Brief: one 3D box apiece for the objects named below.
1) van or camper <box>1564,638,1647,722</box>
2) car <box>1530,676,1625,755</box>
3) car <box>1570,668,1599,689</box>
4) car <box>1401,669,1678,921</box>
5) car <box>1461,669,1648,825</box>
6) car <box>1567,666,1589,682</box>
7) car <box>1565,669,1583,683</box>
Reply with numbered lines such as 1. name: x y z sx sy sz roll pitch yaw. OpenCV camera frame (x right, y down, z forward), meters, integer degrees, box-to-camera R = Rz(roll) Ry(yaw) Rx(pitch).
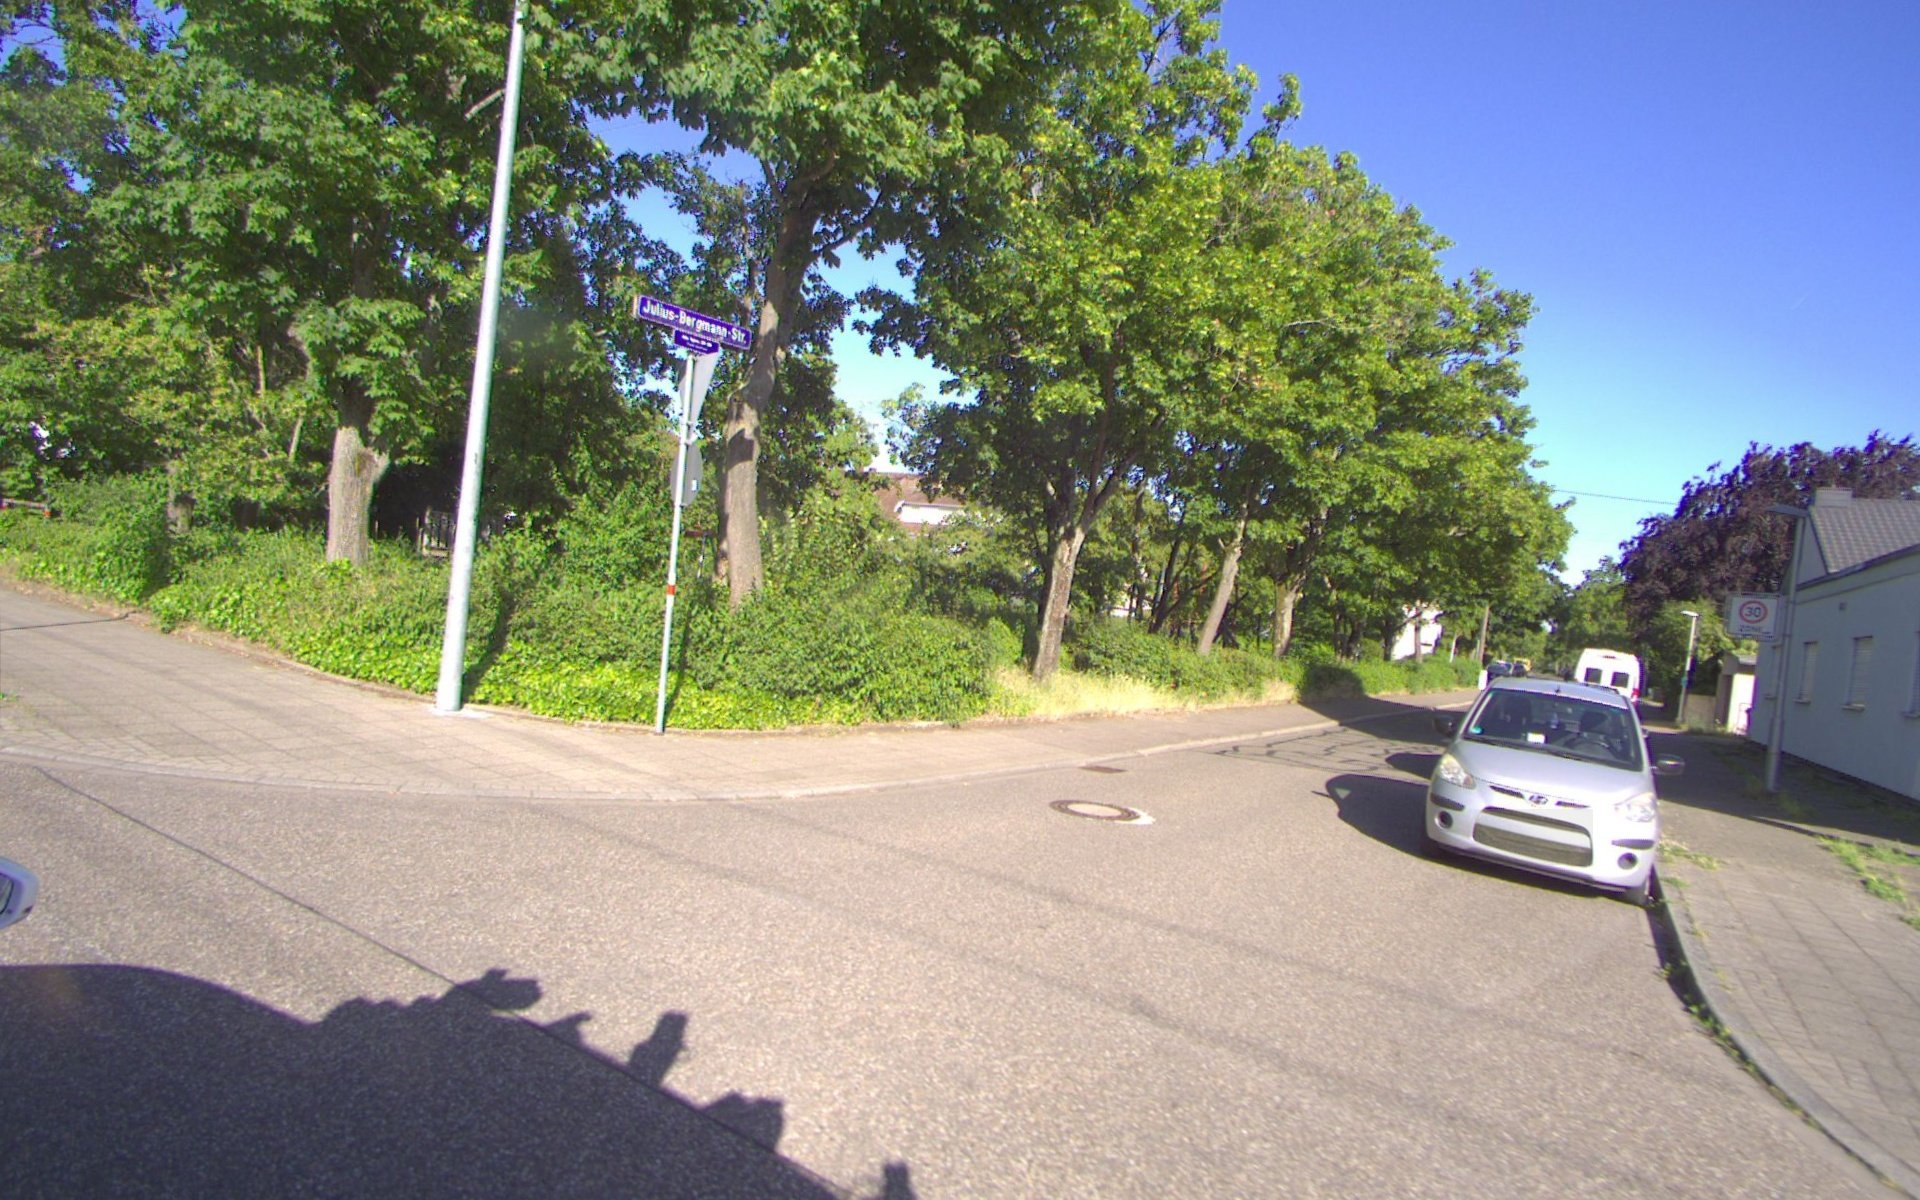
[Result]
1. van or camper: 24.461 3.067 38.298 2.208 2.721 5.057 7 -1 31
2. car: 14.380 2.636 23.453 1.612 1.464 3.701 7 0 32
3. car: 69.185 8.695 111.420 2.397 1.940 5.142 7 -1 34
4. car: 5.151 1.486 8.897 1.620 1.549 3.597 6 0 33
5. car: 7.926 1.803 13.389 1.715 1.516 4.005 7 0 32
6. car: 92.598 11.151 150.747 2.397 1.940 5.142 7 -1 34
7. car: 106.021 13.147 173.660 2.397 1.940 5.142 7 -1 34
